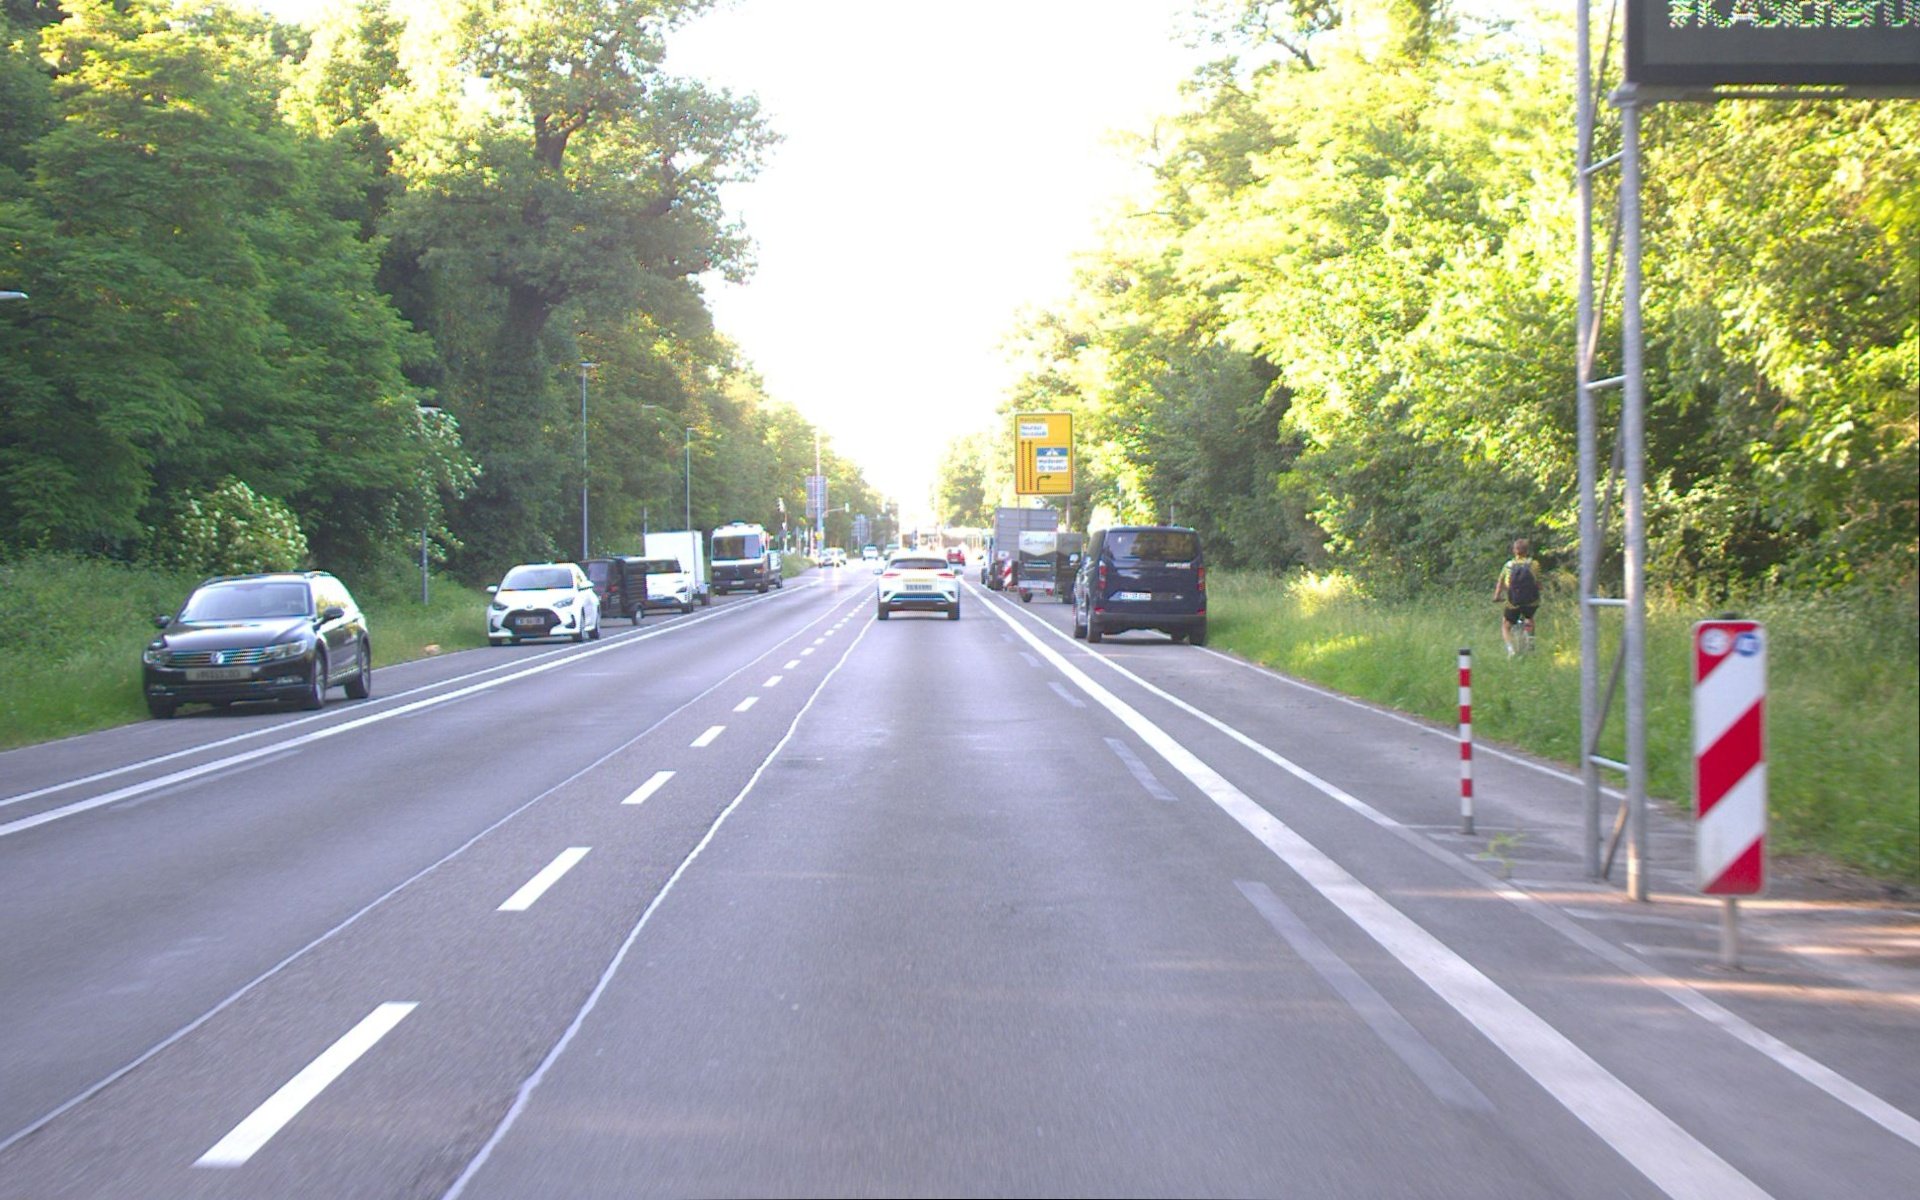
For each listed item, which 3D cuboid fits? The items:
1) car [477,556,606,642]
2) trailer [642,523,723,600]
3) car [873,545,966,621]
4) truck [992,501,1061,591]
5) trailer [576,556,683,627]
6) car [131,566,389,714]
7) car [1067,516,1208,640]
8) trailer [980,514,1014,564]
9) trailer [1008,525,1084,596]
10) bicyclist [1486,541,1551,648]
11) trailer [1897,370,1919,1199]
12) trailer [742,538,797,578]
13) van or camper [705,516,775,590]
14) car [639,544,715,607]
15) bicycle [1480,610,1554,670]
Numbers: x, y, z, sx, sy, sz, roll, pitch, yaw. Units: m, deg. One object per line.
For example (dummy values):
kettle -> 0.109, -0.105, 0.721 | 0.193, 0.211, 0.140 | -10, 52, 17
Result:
car -> -7.805, -0.051, 64.438 | 1.867, 1.445, 4.071 | -3, 1, 0
trailer -> -8.506, -1.194, 105.772 | 2.075, 2.285, 3.486 | -1, 1, 1
car -> -0.903, -0.399, 76.912 | 1.993, 1.634, 4.000 | -1, 1, -1
truck -> 2.546, -2.082, 133.621 | 2.505, 3.355, 7.107 | 0, 1, 0
trailer -> -7.497, -0.197, 78.113 | 1.397, 1.568, 2.672 | 0, 1, 20
car -> -7.517, 0.384, 37.346 | 1.855, 1.459, 4.784 | -1, 1, -1
car -> 3.018, -0.404, 59.484 | 2.113, 2.007, 5.040 | 1, 1, 0
trailer -> 1.674, -2.760, 156.955 | 1.500, 2.228, 4.550 | 1, 1, 0
trailer -> 2.597, -1.197, 103.663 | 1.616, 2.105, 2.394 | 0, 1, 20
bicyclist -> 6.954, -0.074, 42.874 | 0.610, 1.320, 1.175 | 0, 1, 0
trailer -> 3.669, 0.453, 9.220 | 1.964, 2.016, 3.840 | 0, 1, 19
trailer -> -8.277, -1.834, 149.784 | 1.471, 1.654, 3.364 | -2, 0, 12
van or camper -> -8.711, -1.882, 136.607 | 2.302, 2.758, 5.557 | -3, 1, 0
car -> -7.570, -0.690, 92.383 | 1.814, 1.566, 4.207 | -3, 1, -3
bicycle -> 6.950, 0.487, 42.948 | 0.591, 0.690, 1.997 | 0, 1, 0
